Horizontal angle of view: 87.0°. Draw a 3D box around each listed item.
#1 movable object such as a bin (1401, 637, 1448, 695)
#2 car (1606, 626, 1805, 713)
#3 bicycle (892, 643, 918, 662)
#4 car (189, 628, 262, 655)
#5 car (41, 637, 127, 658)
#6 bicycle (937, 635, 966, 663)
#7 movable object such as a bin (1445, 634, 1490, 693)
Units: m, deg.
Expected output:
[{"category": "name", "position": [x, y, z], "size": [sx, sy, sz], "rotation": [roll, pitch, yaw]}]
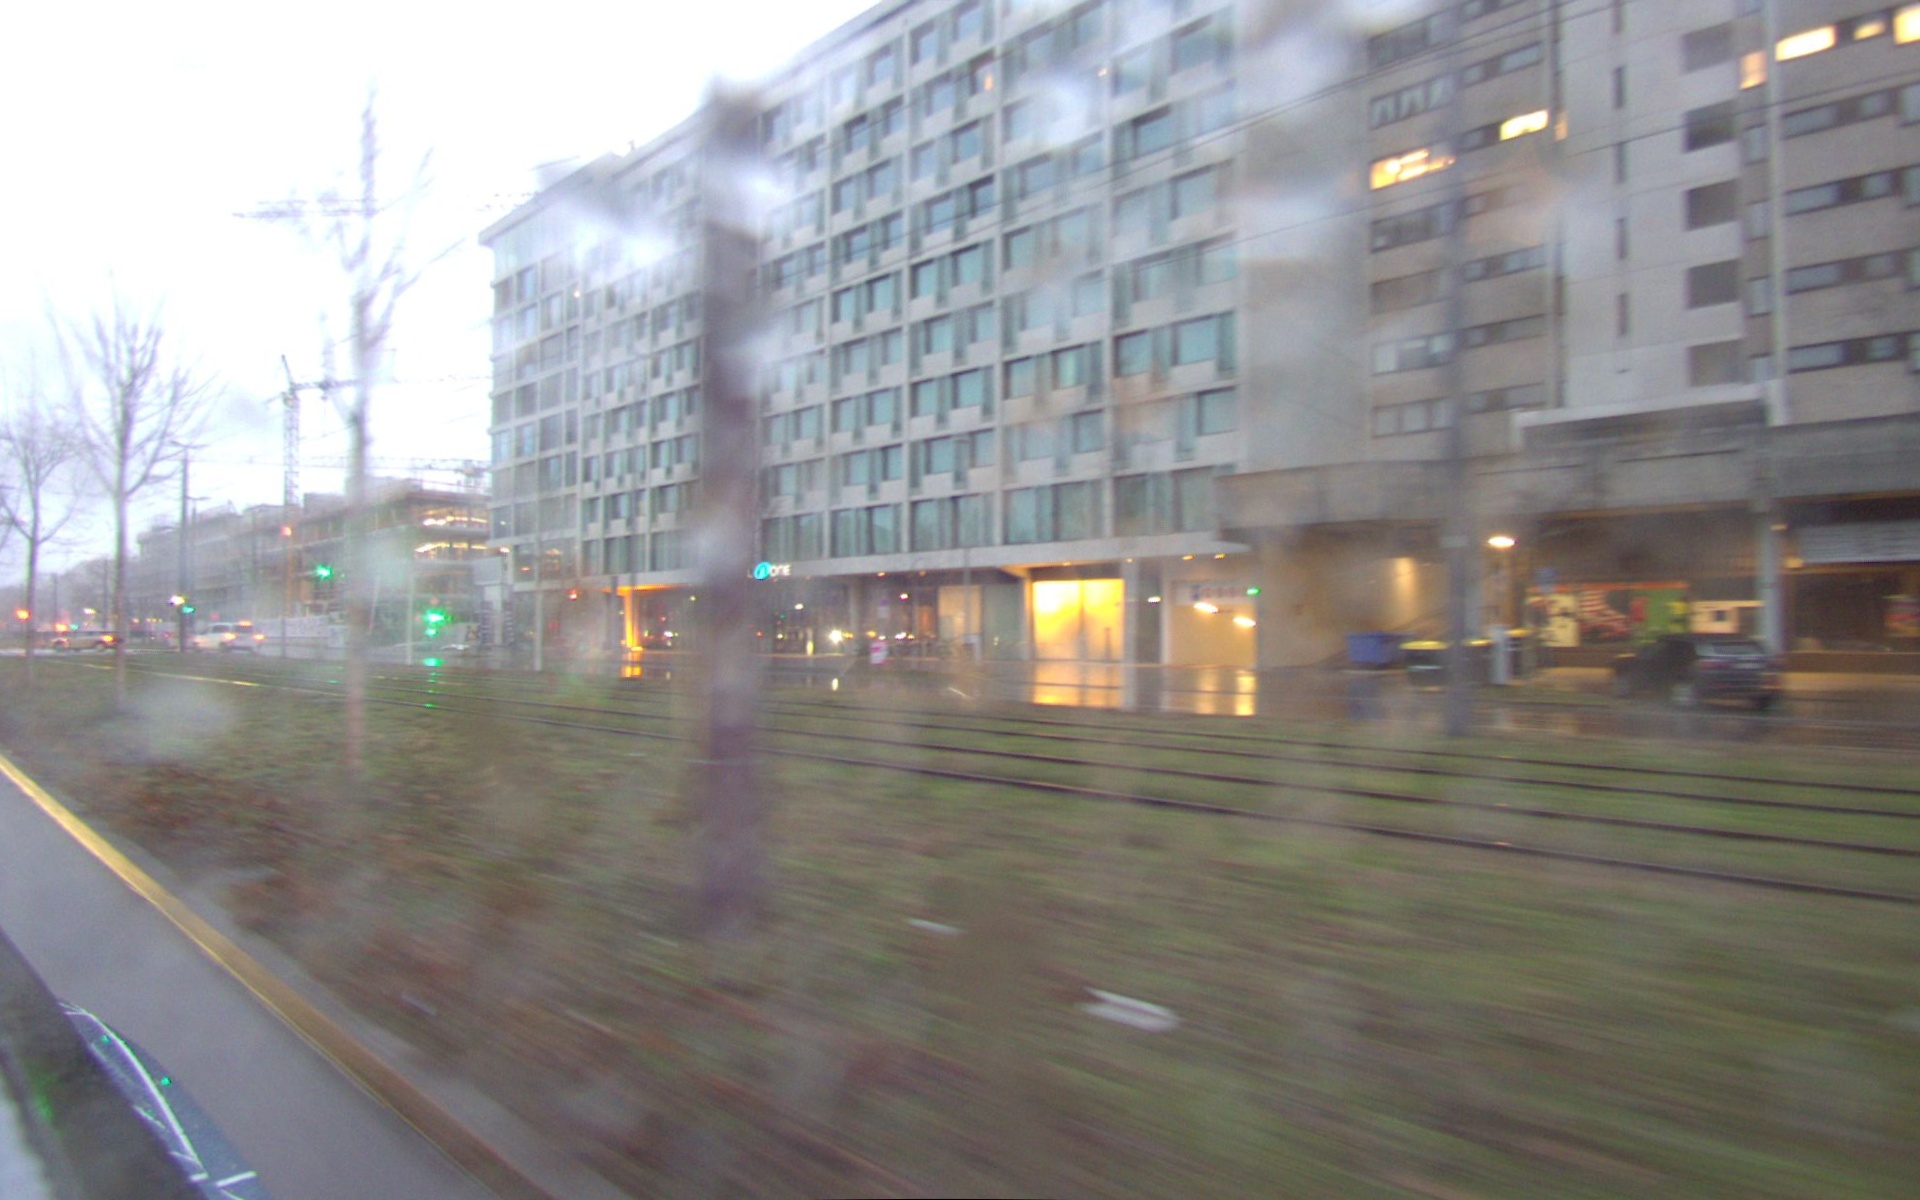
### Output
[{"category": "movable object such as a bin", "position": [12.314, 1.725, 26.821], "size": [1.027, 1.437, 1.063], "rotation": [-1, 0, 30]}, {"category": "car", "position": [16.918, 1.515, 23.271], "size": [1.963, 1.706, 4.130], "rotation": [-1, 0, 9]}, {"category": "bicycle", "position": [-2.669, 2.545, 49.039], "size": [0.465, 0.860, 1.332], "rotation": [-1, 0, 39]}, {"category": "car", "position": [-46.266, 2.606, 63.703], "size": [5.028, 1.682, 2.065], "rotation": [-1, -2, 33]}, {"category": "car", "position": [-56.188, 3.015, 64.956], "size": [3.943, 1.317, 1.818], "rotation": [0, -2, -1]}, {"category": "bicycle", "position": [-0.405, 2.292, 47.661], "size": [0.465, 1.247, 1.520], "rotation": [-1, 0, 39]}, {"category": "movable object such as a bin", "position": [13.672, 1.695, 27.262], "size": [1.008, 1.512, 1.041], "rotation": [-1, 0, 30]}]
